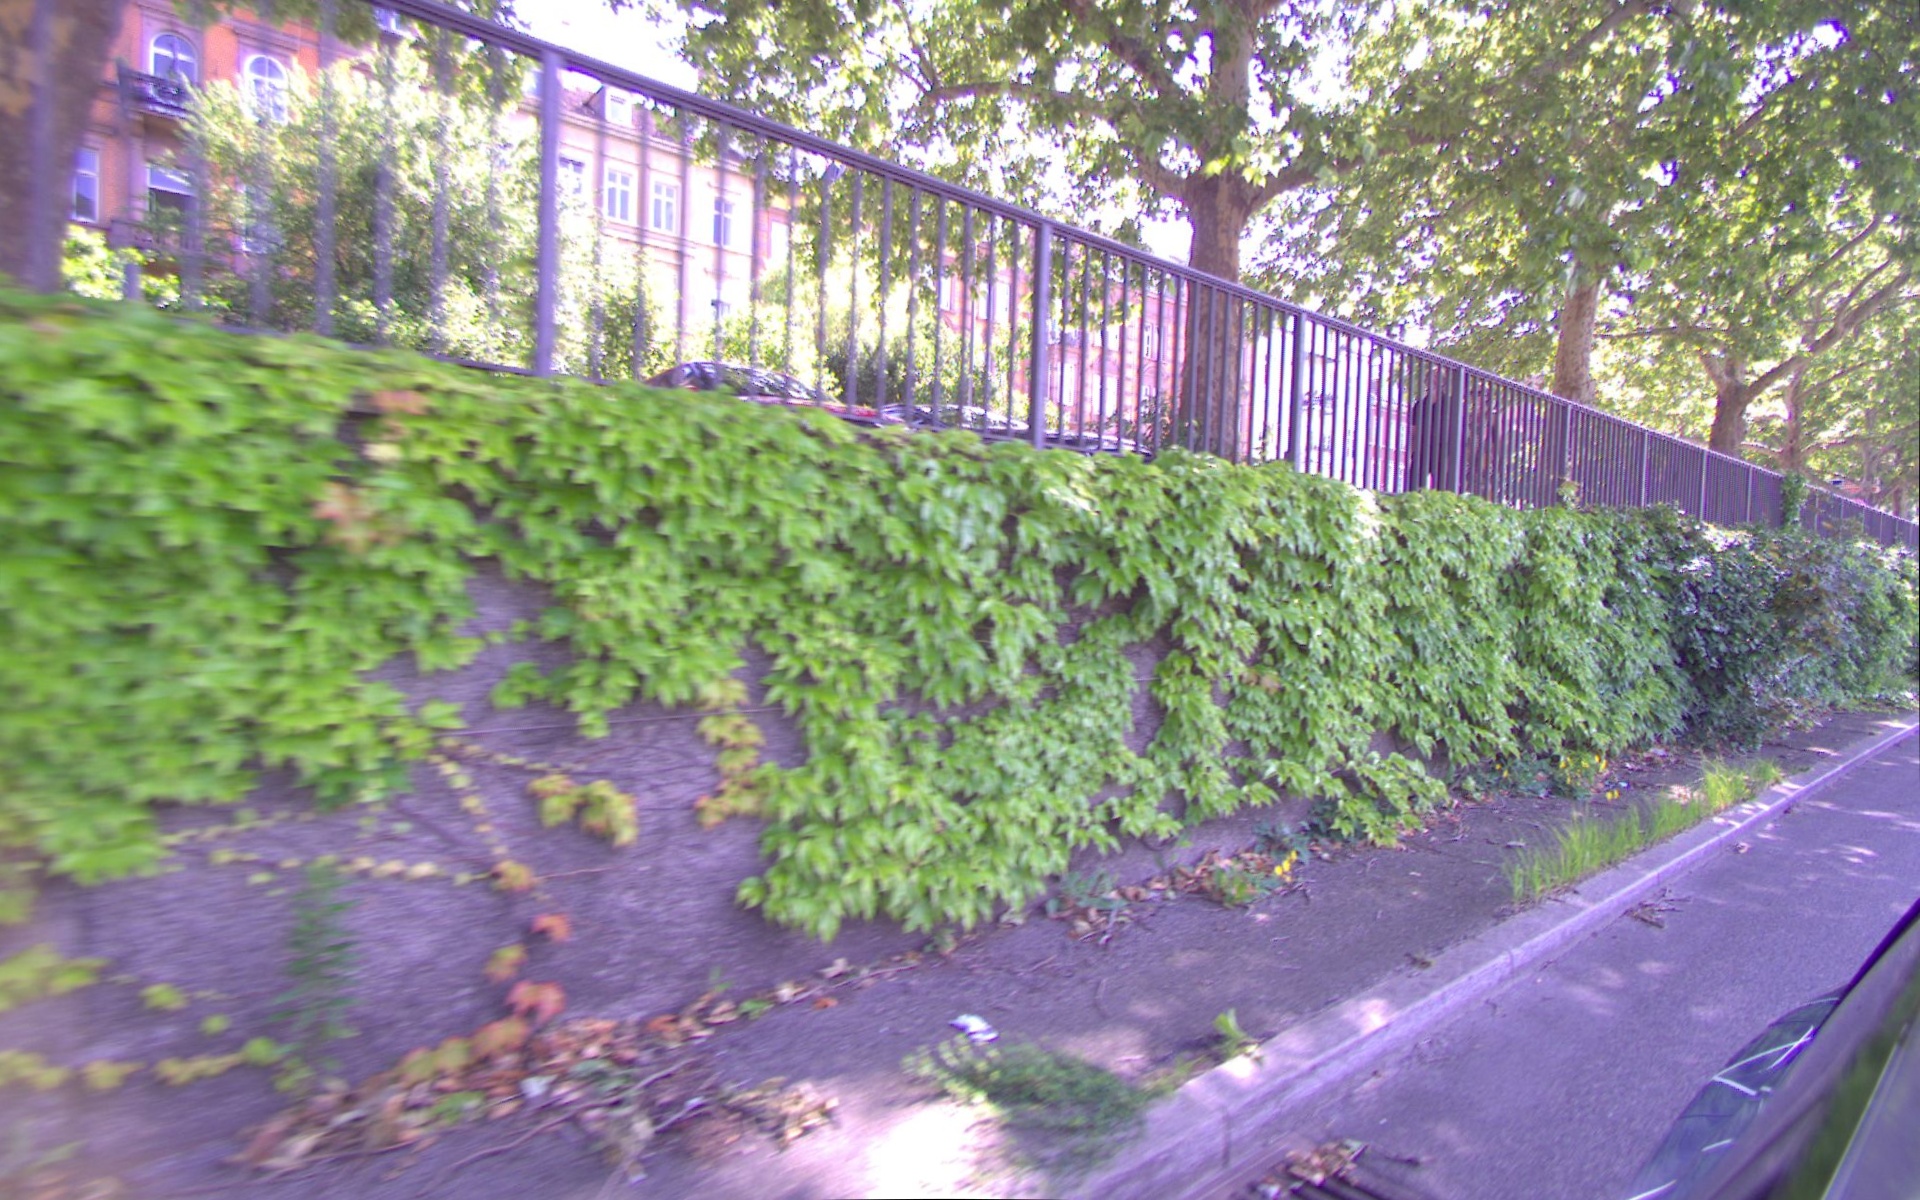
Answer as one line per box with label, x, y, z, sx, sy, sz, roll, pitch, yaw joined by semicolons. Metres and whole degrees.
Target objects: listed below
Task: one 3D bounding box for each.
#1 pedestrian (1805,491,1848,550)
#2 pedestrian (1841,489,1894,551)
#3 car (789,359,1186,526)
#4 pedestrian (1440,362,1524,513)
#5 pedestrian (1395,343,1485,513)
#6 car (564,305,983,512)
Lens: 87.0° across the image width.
pedestrian;19.213;-1.748;22.442;0.679;1.259;0.577;0;2;-41
pedestrian;19.479;-1.704;21.725;0.729;1.259;0.712;0;2;-41
car;0.082;-1.311;9.490;1.622;1.128;3.738;0;2;-41
pedestrian;5.340;-1.627;10.345;0.584;1.437;0.580;3;2;42
pedestrian;5.027;-1.760;10.608;0.646;1.660;0.617;3;2;42
car;-1.690;-1.359;8.241;1.623;1.128;3.736;0;3;-42
